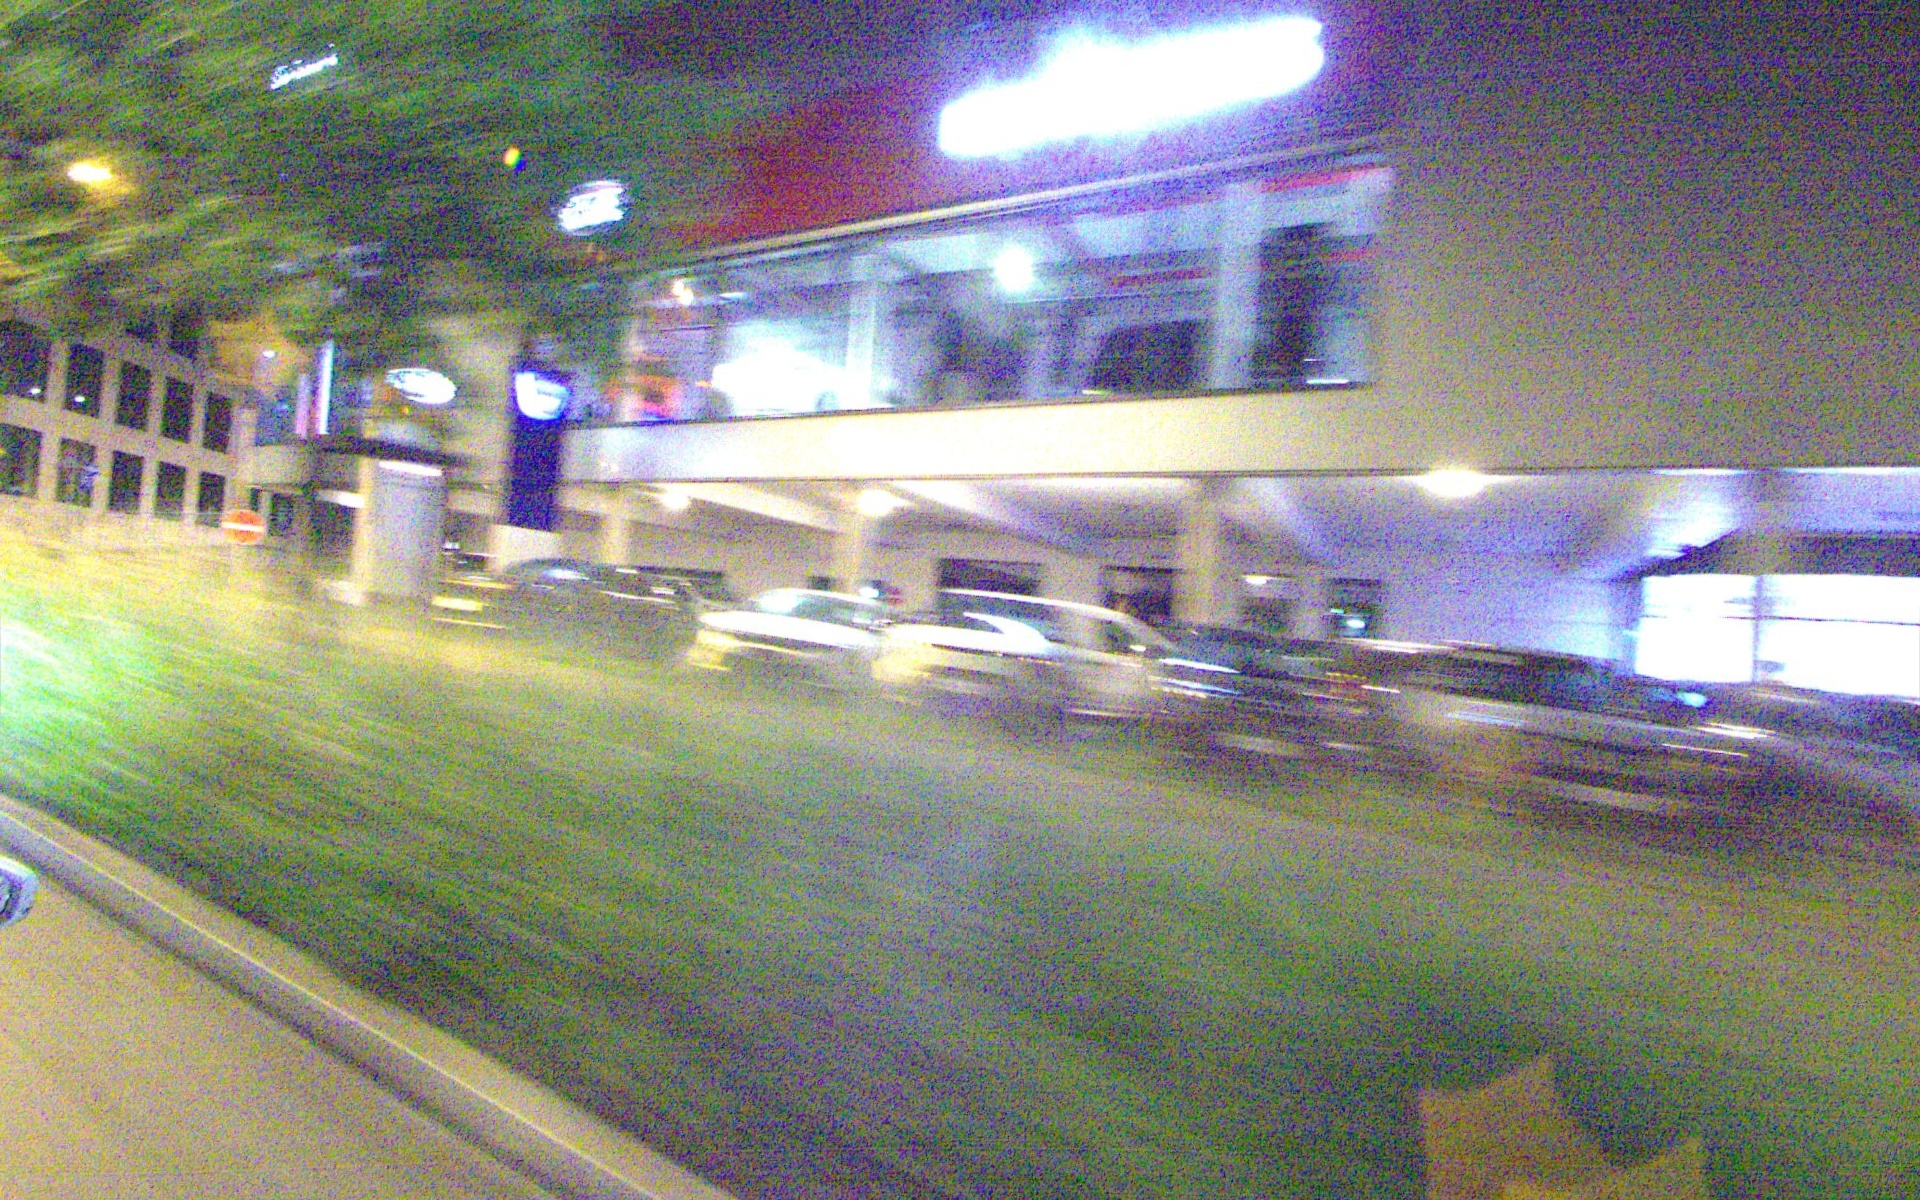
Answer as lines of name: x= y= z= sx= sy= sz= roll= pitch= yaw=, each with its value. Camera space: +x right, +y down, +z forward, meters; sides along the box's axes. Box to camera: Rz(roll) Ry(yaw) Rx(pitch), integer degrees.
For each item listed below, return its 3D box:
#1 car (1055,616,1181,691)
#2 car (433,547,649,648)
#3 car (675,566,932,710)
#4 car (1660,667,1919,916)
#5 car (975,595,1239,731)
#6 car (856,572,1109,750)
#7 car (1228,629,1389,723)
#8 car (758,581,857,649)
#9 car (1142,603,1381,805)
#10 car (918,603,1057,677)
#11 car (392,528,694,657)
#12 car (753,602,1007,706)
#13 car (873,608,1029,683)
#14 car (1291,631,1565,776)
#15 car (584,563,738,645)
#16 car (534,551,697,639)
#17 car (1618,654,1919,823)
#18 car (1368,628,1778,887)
car: x=3.942 y=1.317 z=24.750 sx=1.721 sy=1.605 sz=3.480 roll=4 pitch=-1 yaw=33
car: x=-11.168 y=-0.086 z=26.711 sx=5.529 sy=2.037 sz=1.999 roll=6 pitch=-1 yaw=27
car: x=-1.748 y=0.472 z=13.001 sx=1.910 sy=1.279 sz=4.647 roll=8 pitch=-1 yaw=8
car: x=7.256 y=1.431 z=7.407 sx=1.791 sy=1.409 sz=4.000 roll=8 pitch=1 yaw=10
car: x=2.295 y=0.992 z=16.137 sx=3.802 sy=1.818 sz=1.587 roll=4 pitch=-1 yaw=-9
car: x=0.469 y=0.655 z=11.507 sx=1.873 sy=1.441 sz=4.003 roll=8 pitch=-1 yaw=15
car: x=7.580 y=1.589 z=22.346 sx=1.628 sy=1.673 sz=4.320 roll=7 pitch=-2 yaw=-4
car: x=-5.432 y=0.591 z=36.290 sx=1.716 sy=2.037 sz=3.717 roll=6 pitch=-1 yaw=22
car: x=2.776 y=0.923 z=10.025 sx=1.648 sy=1.450 sz=3.617 roll=7 pitch=-2 yaw=9
car: x=0.740 y=1.044 z=26.998 sx=3.242 sy=1.663 sz=1.635 roll=4 pitch=1 yaw=27
car: x=-6.045 y=-0.003 z=15.186 sx=1.842 sy=1.436 sz=4.139 roll=6 pitch=-2 yaw=19
car: x=-1.389 y=0.950 z=18.207 sx=4.259 sy=1.426 sz=1.778 roll=5 pitch=-1 yaw=-2
car: x=-0.215 y=1.082 z=24.518 sx=3.357 sy=1.532 sz=1.636 roll=3 pitch=-1 yaw=27
car: x=6.289 y=1.380 z=13.642 sx=3.021 sy=1.504 sz=1.319 roll=7 pitch=0 yaw=-9
car: x=-9.466 y=0.128 z=31.830 sx=4.331 sy=2.017 sz=1.957 roll=6 pitch=-1 yaw=26
car: x=-10.095 y=-0.157 z=29.438 sx=4.331 sy=2.017 sz=1.816 roll=6 pitch=-1 yaw=26
car: x=10.045 y=1.623 z=11.592 sx=3.725 sy=1.482 sz=1.626 roll=7 pitch=0 yaw=-1
car: x=5.022 y=1.133 z=8.971 sx=1.798 sy=1.489 sz=3.999 roll=6 pitch=1 yaw=13
